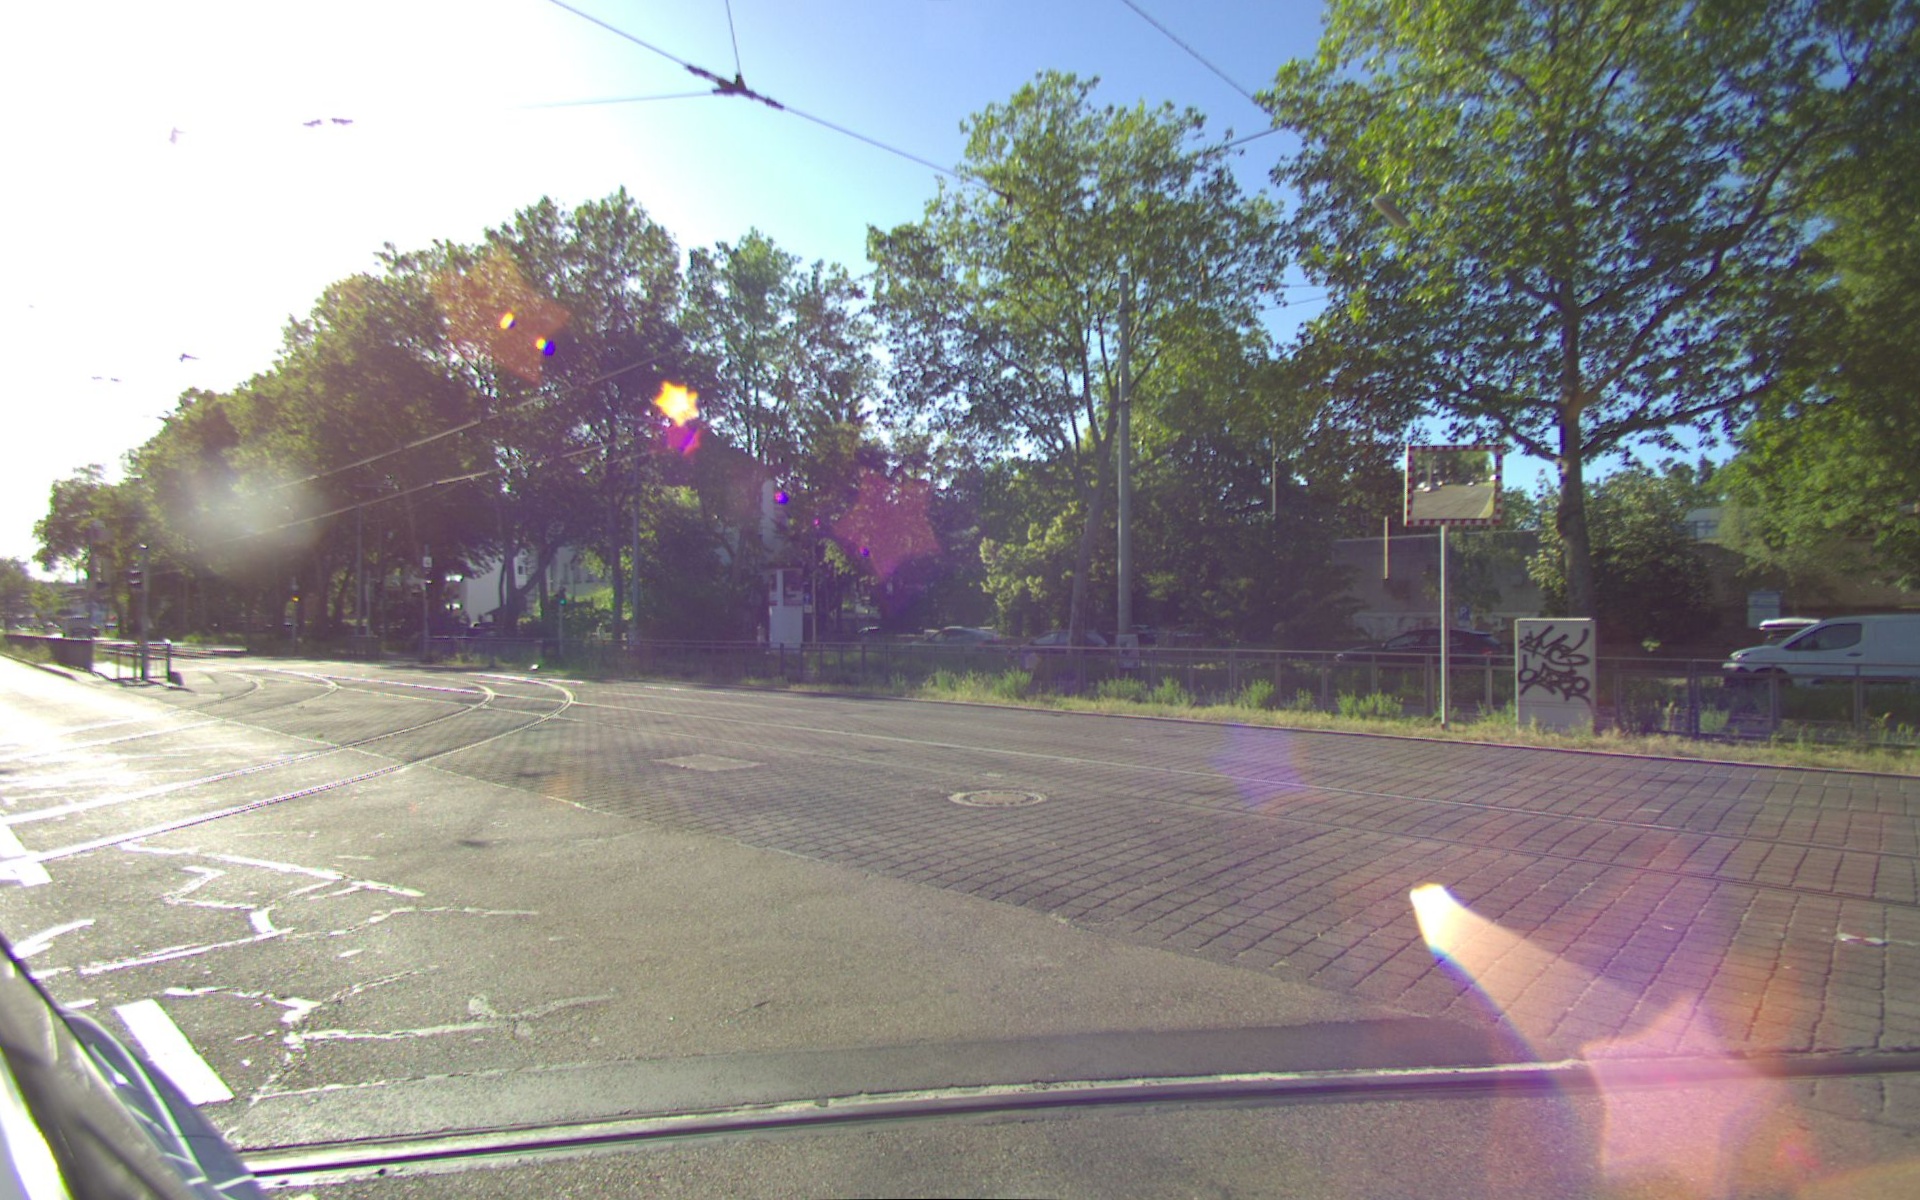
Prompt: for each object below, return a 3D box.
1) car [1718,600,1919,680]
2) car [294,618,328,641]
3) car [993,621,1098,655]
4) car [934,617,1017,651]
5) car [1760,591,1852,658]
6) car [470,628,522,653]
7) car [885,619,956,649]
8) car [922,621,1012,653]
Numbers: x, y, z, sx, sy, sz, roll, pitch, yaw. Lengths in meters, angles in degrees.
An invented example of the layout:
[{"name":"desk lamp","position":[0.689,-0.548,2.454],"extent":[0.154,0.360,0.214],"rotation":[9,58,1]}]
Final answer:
[{"name":"car","position":[18.275,0.788,20.594],"extent":[4.348,1.482,1.722],"rotation":[-2,0,44]},{"name":"car","position":[-54.039,2.471,84.202],"extent":[1.721,1.806,3.744],"rotation":[1,-3,-44]},{"name":"car","position":[2.909,1.292,34.660],"extent":[3.405,1.037,1.464],"rotation":[-2,0,44]},{"name":"car","position":[0.731,1.603,48.155],"extent":[3.741,1.482,1.722],"rotation":[-2,0,43]},{"name":"car","position":[24.565,0.685,29.343],"extent":[3.891,1.831,1.617],"rotation":[0,-2,-44]},{"name":"car","position":[-30.519,2.665,66.564],"extent":[3.755,1.482,1.700],"rotation":[-2,0,41]},{"name":"car","position":[-2.024,1.733,51.240],"extent":[1.610,1.406,3.486],"rotation":[-2,0,-44]},{"name":"car","position":[0.235,1.371,37.292],"extent":[3.129,1.057,1.483],"rotation":[-2,0,44]}]
